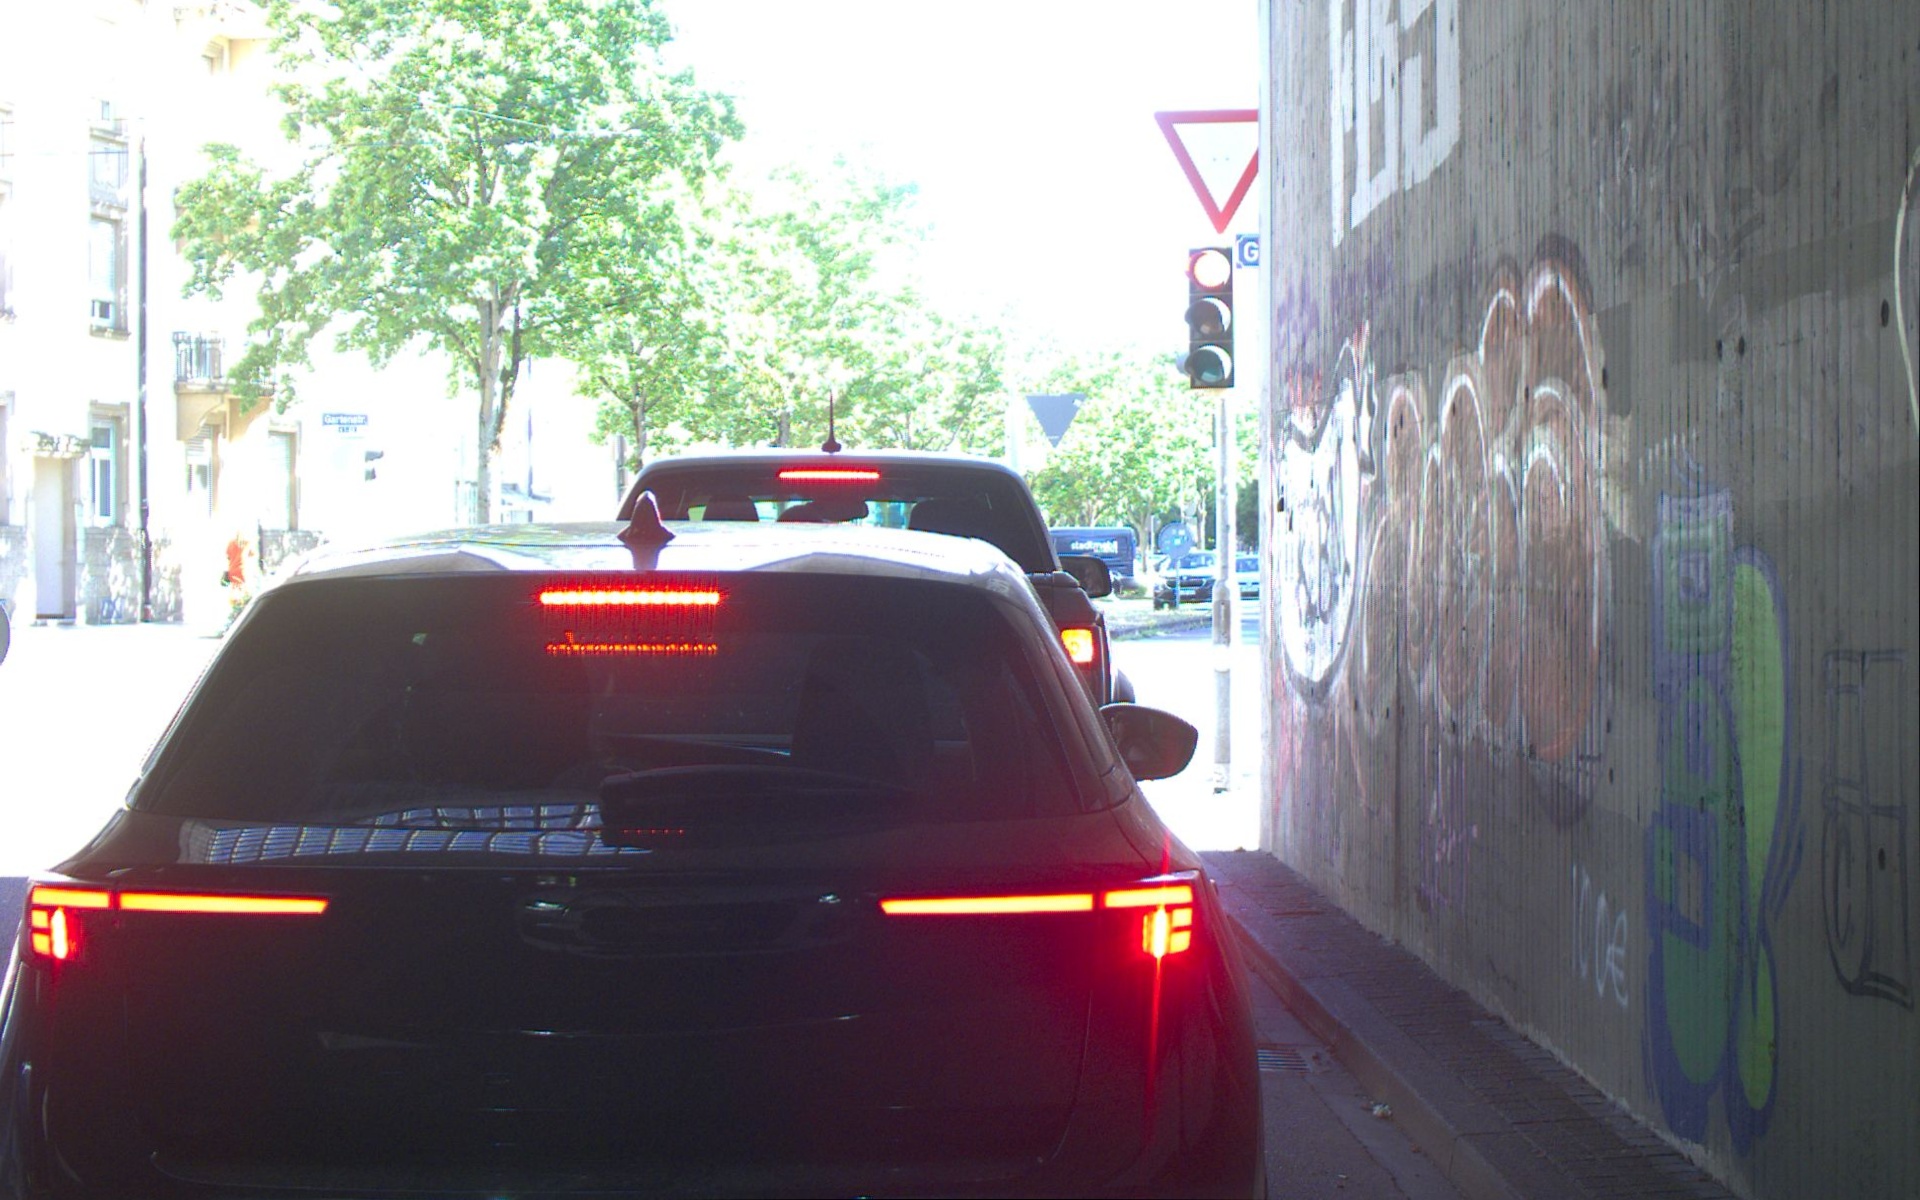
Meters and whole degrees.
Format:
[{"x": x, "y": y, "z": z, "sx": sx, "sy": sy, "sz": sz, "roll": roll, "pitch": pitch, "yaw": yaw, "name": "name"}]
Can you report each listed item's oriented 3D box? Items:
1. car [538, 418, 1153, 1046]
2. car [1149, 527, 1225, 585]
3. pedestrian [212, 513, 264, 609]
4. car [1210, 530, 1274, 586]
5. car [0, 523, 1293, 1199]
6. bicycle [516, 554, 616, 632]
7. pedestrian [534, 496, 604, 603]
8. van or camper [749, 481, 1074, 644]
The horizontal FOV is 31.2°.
[{"x": -0.354, "y": 0.351, "z": 12.090, "sx": 1.786, "sy": 1.827, "sz": 3.961, "roll": 1, "pitch": 1, "yaw": 0, "name": "car"}, {"x": 5.756, "y": -1.124, "z": 87.021, "sx": 1.599, "sy": 1.447, "sz": 3.794, "roll": 0, "pitch": 1, "yaw": 9, "name": "car"}, {"x": -12.988, "y": -0.696, "z": 61.875, "sx": 0.623, "sy": 1.699, "sz": 0.722, "roll": 1, "pitch": 0, "yaw": 17, "name": "pedestrian"}, {"x": 8.446, "y": -1.265, "z": 102.858, "sx": 1.584, "sy": 1.634, "sz": 3.804, "roll": 0, "pitch": 1, "yaw": 10, "name": "car"}, {"x": -0.496, "y": 0.628, "z": 6.163, "sx": 1.753, "sy": 1.493, "sz": 4.000, "roll": 1, "pitch": 1, "yaw": 0, "name": "car"}, {"x": -5.871, "y": -0.120, "z": 51.342, "sx": 0.737, "sy": 1.126, "sz": 2.025, "roll": 0, "pitch": 1, "yaw": 17, "name": "bicycle"}, {"x": -5.845, "y": -0.753, "z": 51.416, "sx": 0.736, "sy": 1.579, "sz": 0.889, "roll": 1, "pitch": 0, "yaw": 15, "name": "pedestrian"}, {"x": -0.578, "y": -0.478, "z": 43.573, "sx": 3.878, "sy": 2.007, "sz": 2.000, "roll": 0, "pitch": 1, "yaw": 7, "name": "van or camper"}]
